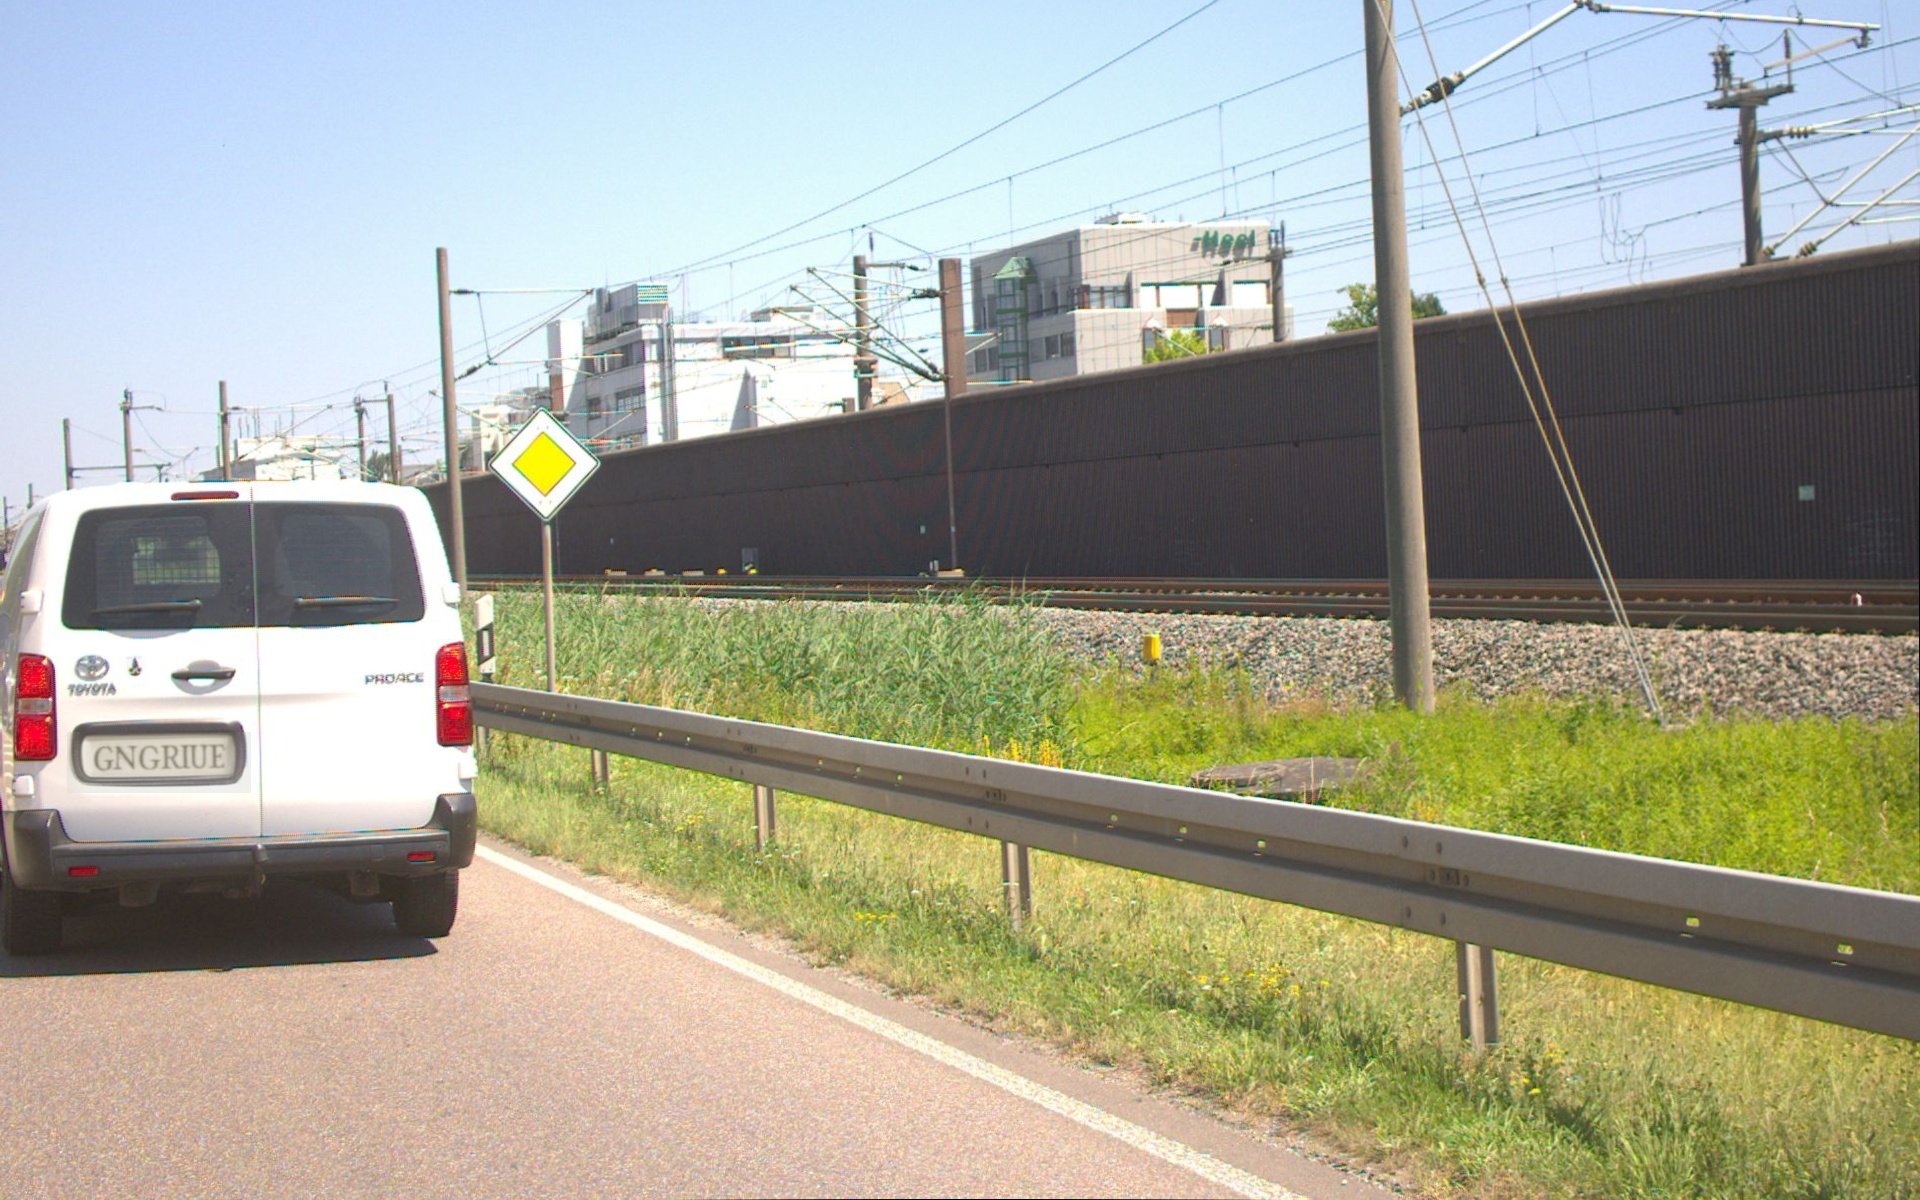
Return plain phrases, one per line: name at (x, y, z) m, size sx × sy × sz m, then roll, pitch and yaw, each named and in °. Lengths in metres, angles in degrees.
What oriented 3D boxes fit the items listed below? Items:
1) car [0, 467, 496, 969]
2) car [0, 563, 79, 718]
car at (-3.478, 0.440, 15.429) m, size 1.945 × 1.875 × 4.882 m, roll 0°, pitch 0°, yaw -18°
car at (-11.086, 0.427, 38.656) m, size 1.905 × 1.644 × 4.142 m, roll -1°, pitch 1°, yaw -19°
